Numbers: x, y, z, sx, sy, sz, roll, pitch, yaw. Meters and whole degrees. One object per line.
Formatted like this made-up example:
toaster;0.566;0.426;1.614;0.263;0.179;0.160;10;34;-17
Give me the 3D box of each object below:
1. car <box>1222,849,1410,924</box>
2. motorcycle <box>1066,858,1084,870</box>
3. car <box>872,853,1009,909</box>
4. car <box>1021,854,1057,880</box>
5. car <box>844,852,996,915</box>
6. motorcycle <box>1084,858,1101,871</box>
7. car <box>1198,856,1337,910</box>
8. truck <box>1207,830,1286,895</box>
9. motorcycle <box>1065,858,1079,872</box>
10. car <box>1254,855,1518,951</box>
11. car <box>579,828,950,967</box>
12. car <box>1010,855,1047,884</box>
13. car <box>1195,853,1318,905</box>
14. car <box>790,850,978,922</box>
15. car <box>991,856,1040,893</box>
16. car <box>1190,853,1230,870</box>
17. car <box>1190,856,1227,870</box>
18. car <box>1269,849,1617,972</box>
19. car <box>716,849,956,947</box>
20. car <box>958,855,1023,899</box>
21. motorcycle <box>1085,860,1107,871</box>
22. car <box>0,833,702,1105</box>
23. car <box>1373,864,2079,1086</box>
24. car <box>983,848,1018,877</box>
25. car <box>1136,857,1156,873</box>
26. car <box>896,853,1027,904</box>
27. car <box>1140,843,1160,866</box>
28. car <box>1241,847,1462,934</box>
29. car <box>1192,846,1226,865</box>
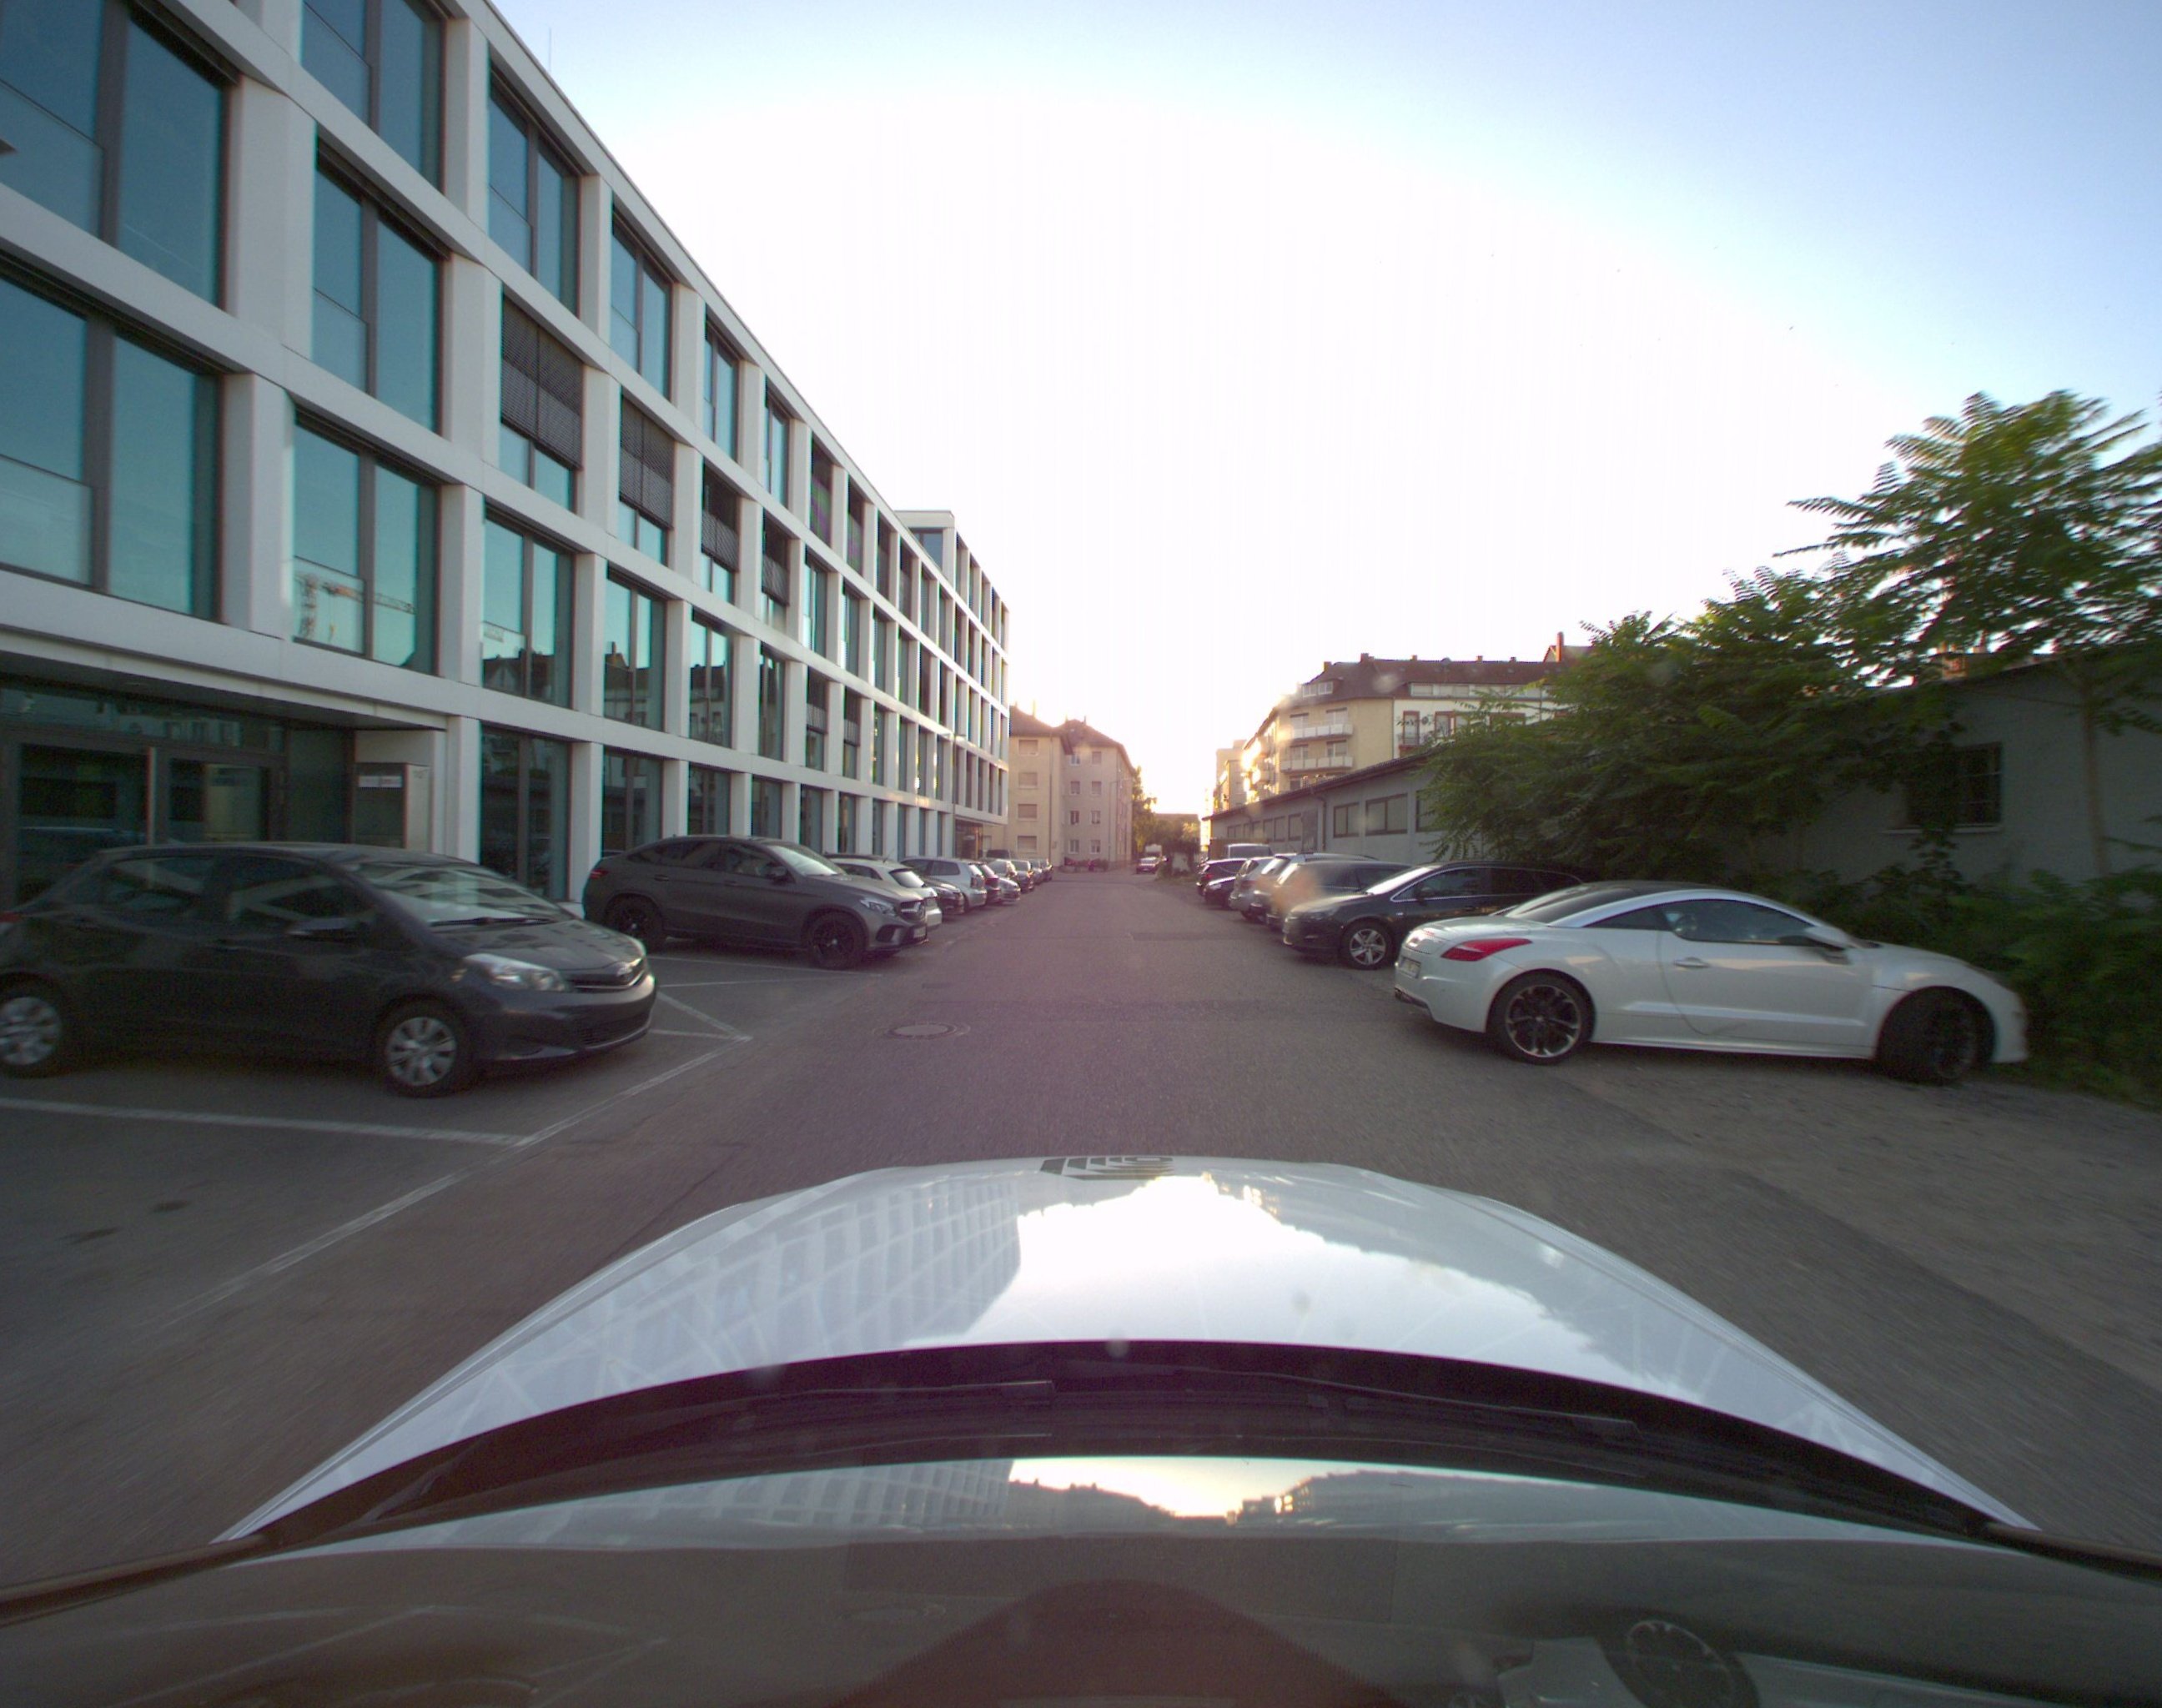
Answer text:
car;5.520;0.746;19.525;3.969;1.609;1.939;2;0;1
motorcycle;-0.565;0.927;73.979;0.716;1.079;2.093;0;0;27
car;-4.109;0.767;24.215;3.637;1.511;1.690;2;0;5
car;-2.647;0.835;52.340;1.772;1.479;4.334;4;0;3
car;-4.300;0.762;22.061;3.637;1.511;1.690;2;0;5
motorcycle;1.102;0.963;76.409;0.682;1.160;2.046;0;0;30
car;5.513;0.853;24.412;3.745;1.444;1.846;2;-1;1
truck;6.127;0.316;30.803;2.089;2.200;5.715;1;0;3
motorcycle;-0.867;1.040;76.311;0.718;1.264;2.090;1;0;17
car;5.180;0.812;14.249;3.967;1.445;1.828;1;-1;3
car;-4.468;0.557;11.899;4.593;1.706;2.009;2;0;8
car;-2.936;0.853;46.312;1.704;1.479;4.184;4;0;0
car;5.696;0.797;26.803;3.742;1.535;1.894;1;1;4
car;-4.642;0.726;19.556;3.945;1.511;1.799;2;0;5
car;-2.919;0.884;36.943;1.642;1.438;4.186;4;0;2
car;15.544;0.933;98.486;4.699;1.909;2.062;-1;-1;5
car;15.711;1.075;100.568;4.303;1.637;1.820;-1;-1;5
car;4.983;0.755;11.713;4.183;1.503;1.892;1;-1;4
car;-4.281;0.728;14.514;3.646;1.511;1.700;2;0;8
car;-3.358;0.831;30.931;1.641;1.438;4.206;4;0;4
motorcycle;1.452;1.136;80.885;2.107;1.105;0.563;1;-1;17
car;-4.998;0.678;5.784;3.766;1.522;1.695;2;0;2
car;4.771;0.834;6.637;4.181;1.367;1.826;1;0;6
car;-5.599;0.556;57.305;1.790;1.979;4.692;1;0;3
car;6.221;1.037;78.097;1.836;1.473;4.083;0;0;5
car;-3.886;0.784;26.836;3.907;1.511;1.690;2;0;5
car;10.505;0.089;123.280;2.606;3.269;7.710;-1;-1;7
car;5.514;0.726;16.944;3.972;1.619;1.826;2;0;-1
car;19.561;0.220;124.508;4.776;2.717;2.146;-1;-1;20
